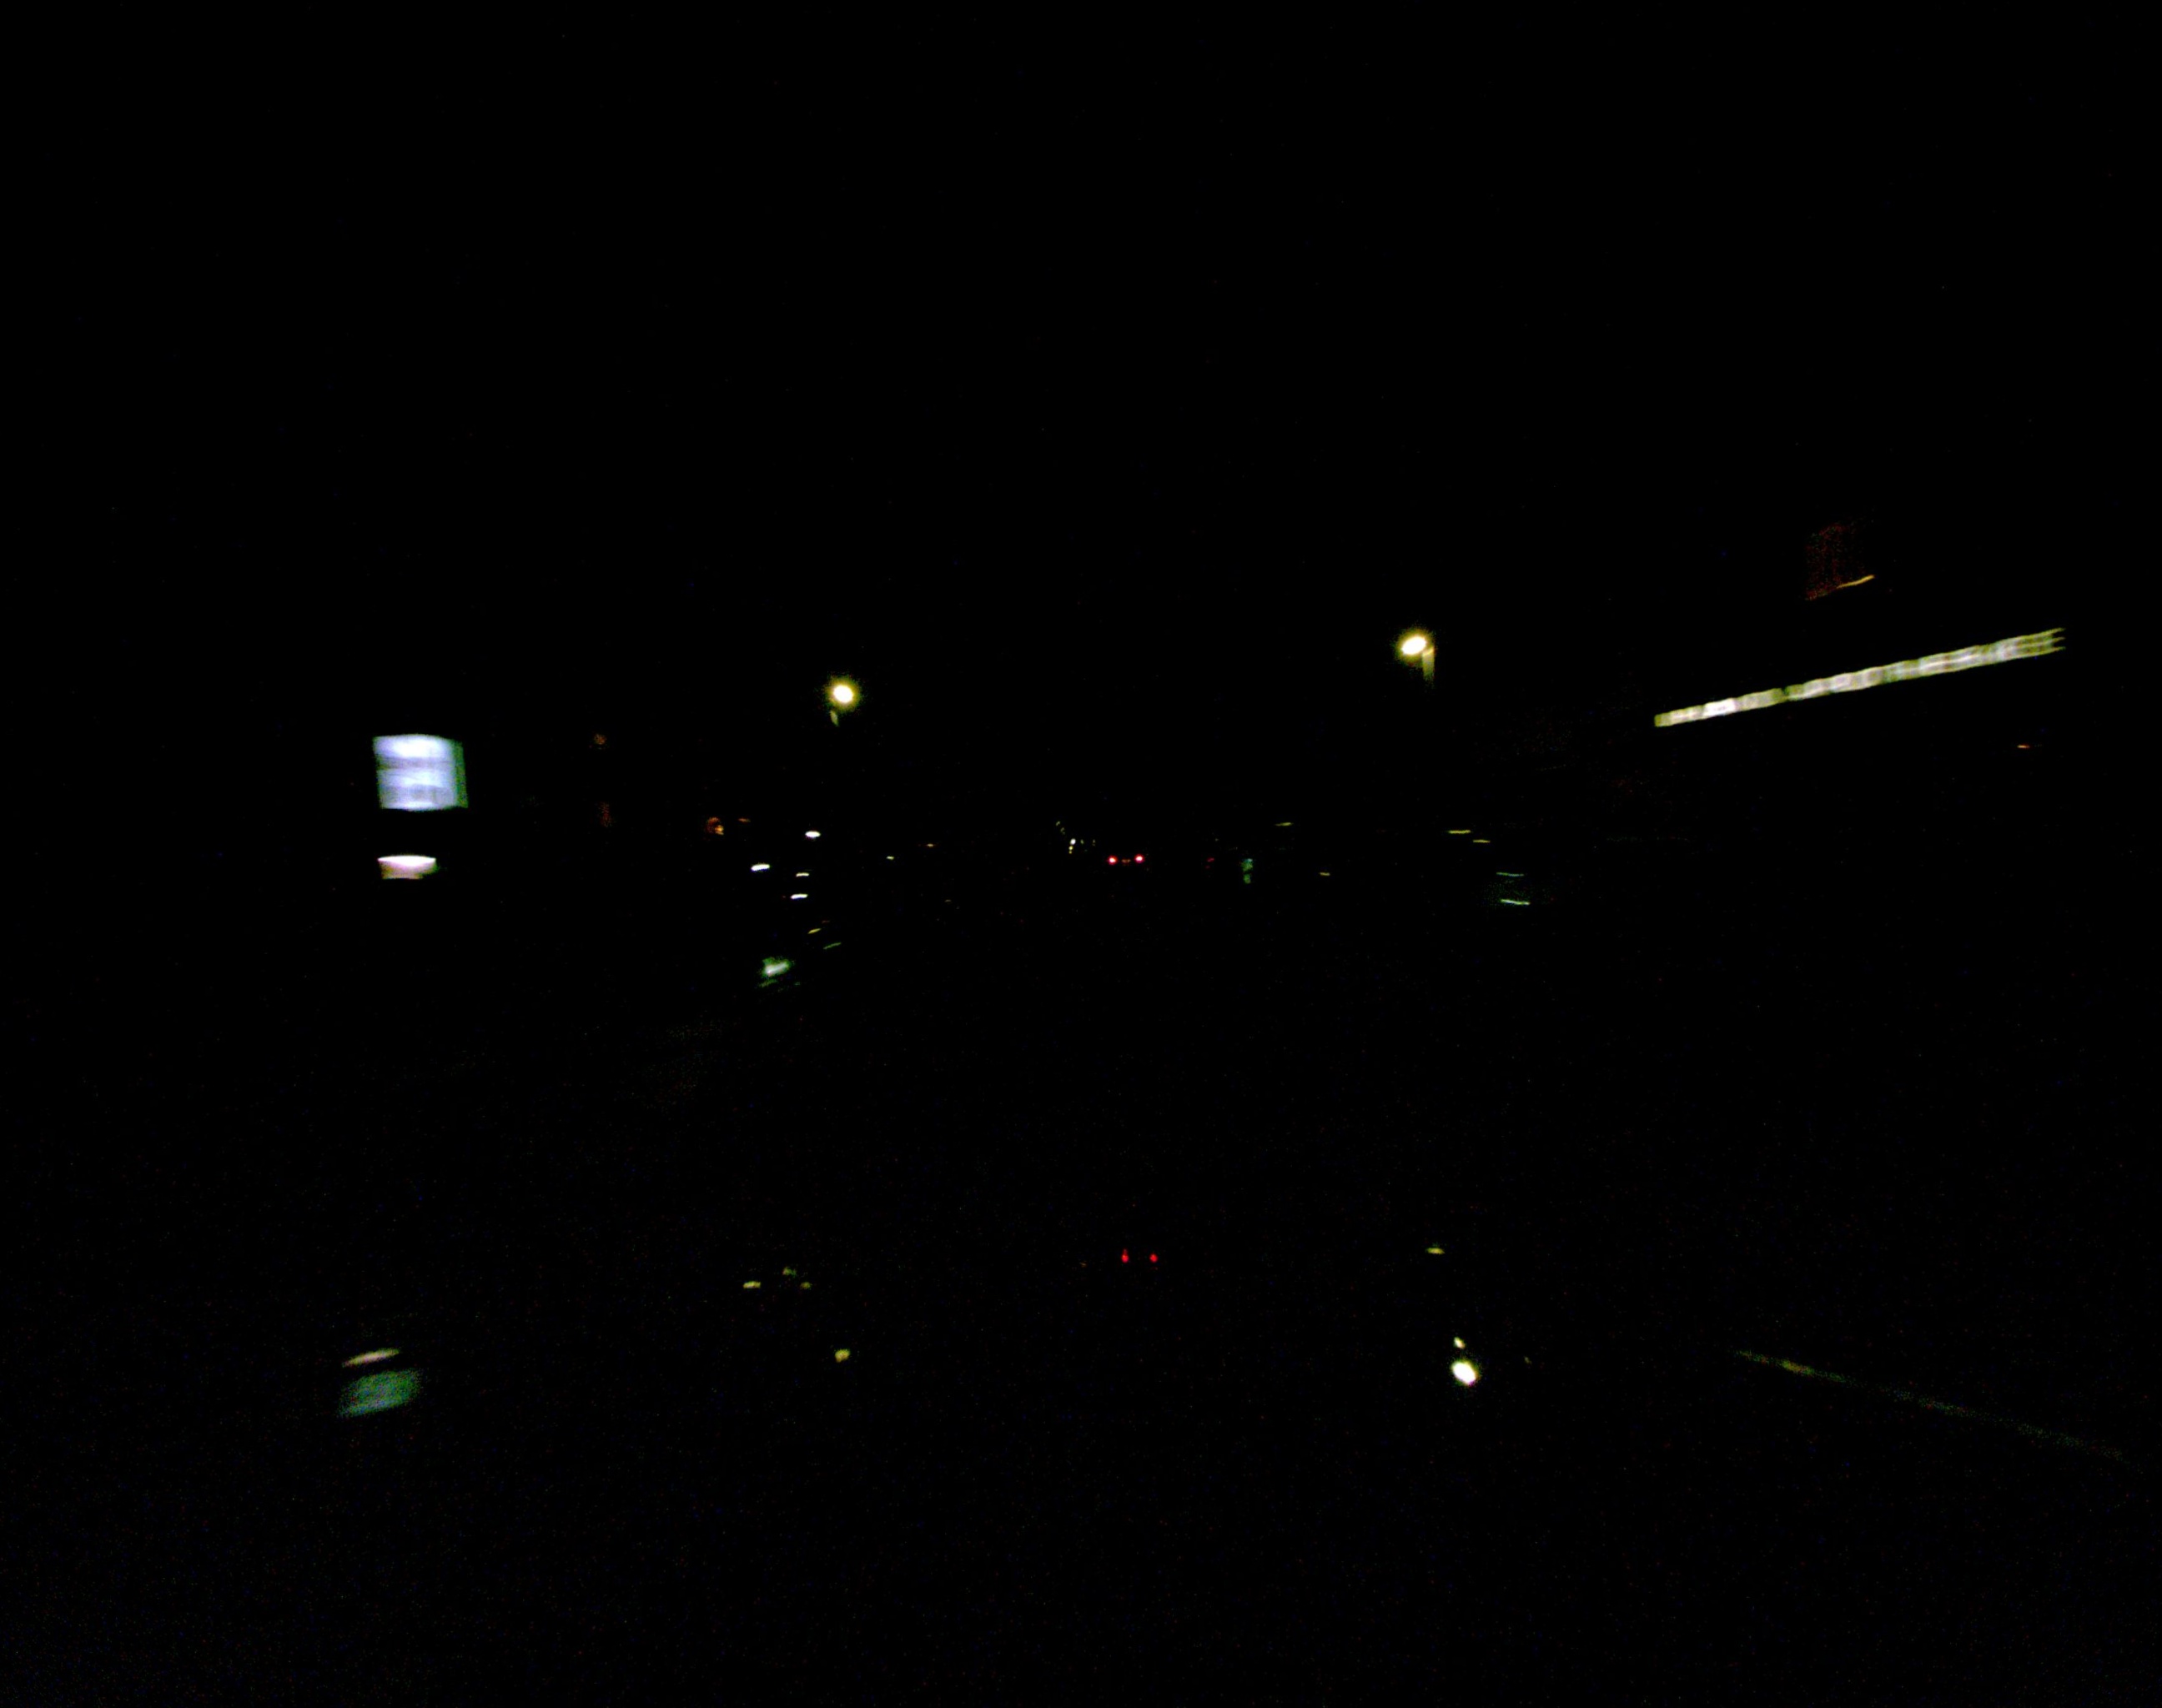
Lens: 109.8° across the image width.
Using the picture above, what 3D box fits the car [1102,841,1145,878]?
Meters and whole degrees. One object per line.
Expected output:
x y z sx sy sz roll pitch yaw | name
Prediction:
2.194 0.268 40.187 1.724 1.705 3.959 -4 1 -3 | car

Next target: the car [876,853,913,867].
-19.005 0.581 77.437 3.552 1.362 1.757 0 1 -15 | car

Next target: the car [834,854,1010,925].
-3.938 0.854 19.315 3.924 1.542 1.988 -2 1 4 | car

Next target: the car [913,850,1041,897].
-4.100 0.758 30.536 4.665 1.548 2.107 -3 1 3 | car

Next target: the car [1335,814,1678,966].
5.473 0.367 10.656 2.121 1.539 4.475 -4 1 -2 | car

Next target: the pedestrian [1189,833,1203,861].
8.140 -0.512 53.797 0.747 1.893 0.829 -5 1 0 | pedestrian

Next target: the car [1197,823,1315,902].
5.011 0.195 22.547 2.121 1.935 4.886 -4 1 -2 | car

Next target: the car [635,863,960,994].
-3.858 0.984 10.937 3.927 1.505 1.854 -2 1 -3 | car

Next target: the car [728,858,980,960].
-3.936 0.927 13.736 3.926 1.505 1.854 -2 2 -1 | car

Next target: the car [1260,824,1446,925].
5.360 0.351 15.661 2.121 1.661 4.168 -4 1 -2 | car

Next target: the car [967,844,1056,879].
-4.211 0.443 46.679 5.156 1.834 2.259 -3 1 -1 | car

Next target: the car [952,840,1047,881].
-4.626 0.353 43.782 5.156 2.084 2.259 -3 1 -1 | car

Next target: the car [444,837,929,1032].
-4.192 0.814 8.573 4.364 1.806 2.031 -2 1 5 | car

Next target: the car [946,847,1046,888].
-3.981 0.615 36.063 4.284 1.688 2.001 -3 1 7 | car
